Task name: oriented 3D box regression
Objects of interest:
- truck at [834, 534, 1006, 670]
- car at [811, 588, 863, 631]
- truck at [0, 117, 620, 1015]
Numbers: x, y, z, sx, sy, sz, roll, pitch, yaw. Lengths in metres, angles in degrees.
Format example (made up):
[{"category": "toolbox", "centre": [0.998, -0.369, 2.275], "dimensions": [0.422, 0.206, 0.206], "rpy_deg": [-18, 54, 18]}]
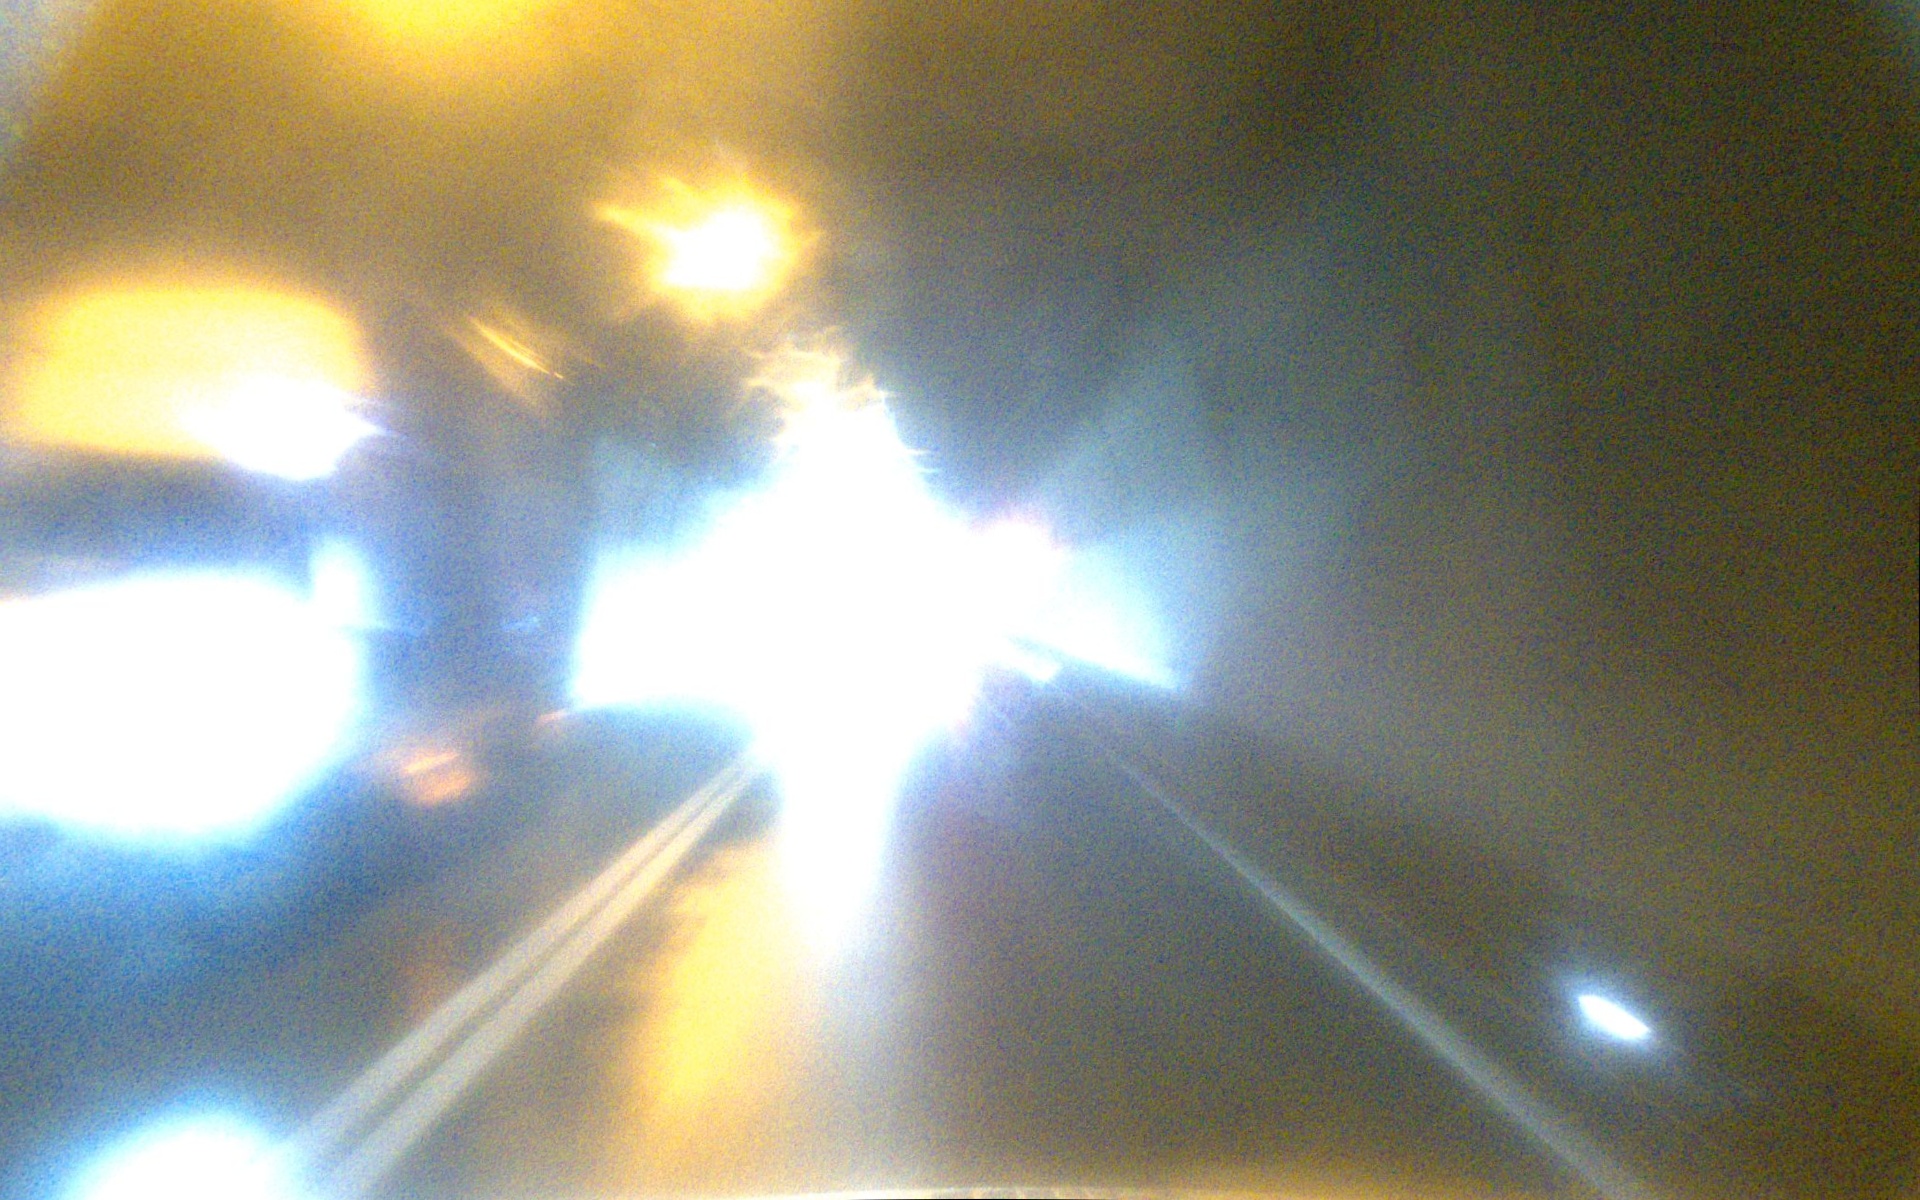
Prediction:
[{"category": "truck", "centre": [-0.877, 0.034, 37.956], "dimensions": [3.463, 2.740, 8.954], "rpy_deg": [0, 0, -1]}, {"category": "car", "centre": [-4.426, 0.330, 60.032], "dimensions": [1.758, 1.508, 3.867], "rpy_deg": [1, 0, -3]}, {"category": "truck", "centre": [-3.531, -0.135, 8.943], "dimensions": [2.234, 3.069, 6.591], "rpy_deg": [1, 0, -2]}]
